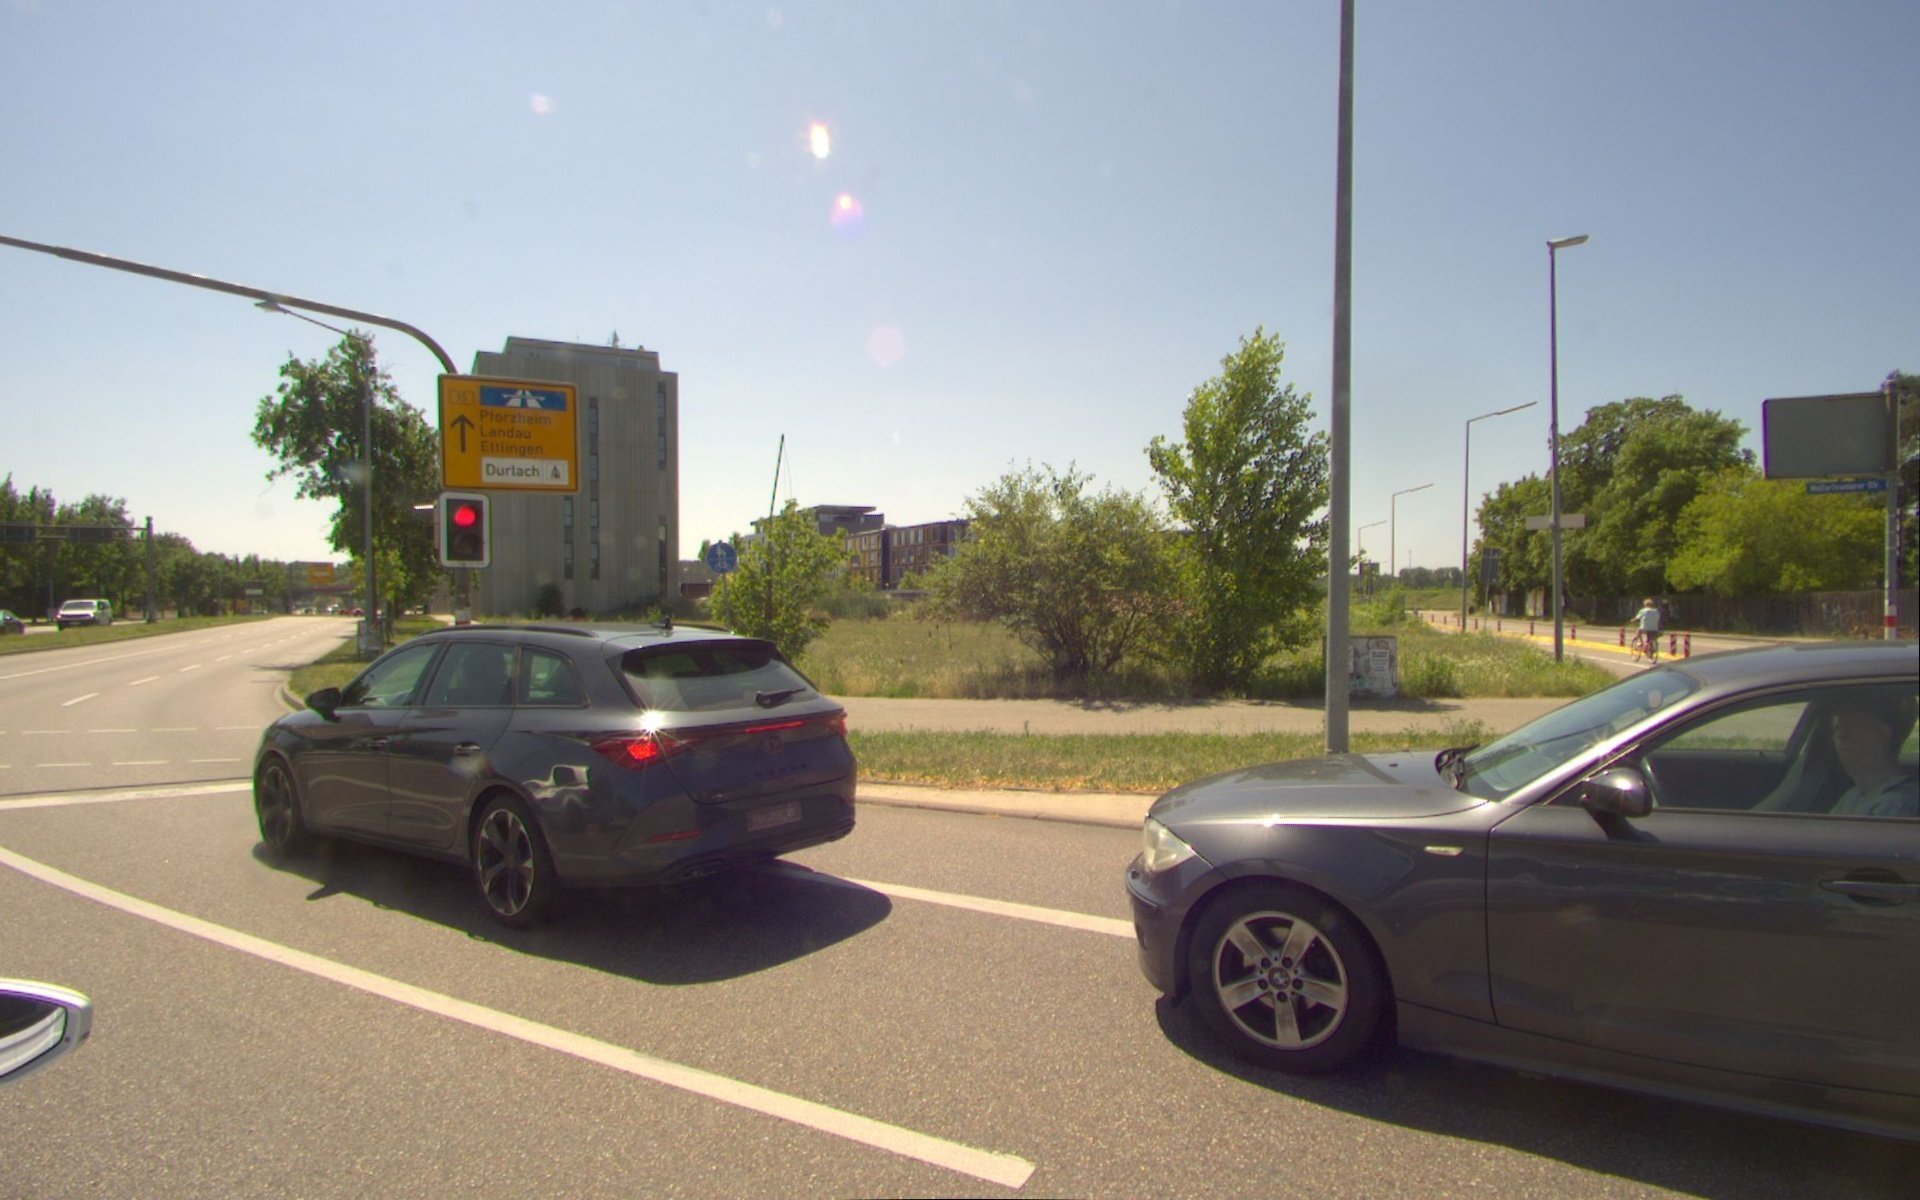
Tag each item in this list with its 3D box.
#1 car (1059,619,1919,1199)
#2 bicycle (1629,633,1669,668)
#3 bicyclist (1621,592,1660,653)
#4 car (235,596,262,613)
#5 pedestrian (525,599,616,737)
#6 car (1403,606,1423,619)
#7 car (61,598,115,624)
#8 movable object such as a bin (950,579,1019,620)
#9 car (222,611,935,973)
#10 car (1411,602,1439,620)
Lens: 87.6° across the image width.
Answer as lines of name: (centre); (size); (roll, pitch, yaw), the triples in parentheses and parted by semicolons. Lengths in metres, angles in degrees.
car: (2.519, 0.797, 3.313); (4.020, 1.421, 1.745); (0, -1, 31)
bicycle: (19.097, 1.382, 27.746); (0.622, 0.891, 1.859); (0, 0, 44)
bicyclist: (18.934, 0.621, 27.856); (0.740, 1.662, 1.153); (1, 1, 42)
car: (-73.848, 0.485, 103.990); (1.780, 1.714, 4.123); (-2, 0, -28)
pedestrian: (-4.958, 0.838, 12.739); (0.942, 1.659, 0.753); (-2, 1, -29)
car: (55.867, 1.513, 123.493); (1.728, 1.565, 3.689); (0, 0, 16)
car: (-54.762, 0.711, 62.950); (1.842, 1.575, 3.979); (0, 0, -30)
movable object such as a bin: (2.142, -0.083, 83.736); (2.770, 3.190, 7.577); (-1, 0, 26)
car: (-2.498, 0.800, 6.135); (4.395, 1.437, 1.988); (0, 0, 35)
car: (42.086, 0.973, 90.639); (1.728, 1.565, 3.689); (0, 0, 16)
